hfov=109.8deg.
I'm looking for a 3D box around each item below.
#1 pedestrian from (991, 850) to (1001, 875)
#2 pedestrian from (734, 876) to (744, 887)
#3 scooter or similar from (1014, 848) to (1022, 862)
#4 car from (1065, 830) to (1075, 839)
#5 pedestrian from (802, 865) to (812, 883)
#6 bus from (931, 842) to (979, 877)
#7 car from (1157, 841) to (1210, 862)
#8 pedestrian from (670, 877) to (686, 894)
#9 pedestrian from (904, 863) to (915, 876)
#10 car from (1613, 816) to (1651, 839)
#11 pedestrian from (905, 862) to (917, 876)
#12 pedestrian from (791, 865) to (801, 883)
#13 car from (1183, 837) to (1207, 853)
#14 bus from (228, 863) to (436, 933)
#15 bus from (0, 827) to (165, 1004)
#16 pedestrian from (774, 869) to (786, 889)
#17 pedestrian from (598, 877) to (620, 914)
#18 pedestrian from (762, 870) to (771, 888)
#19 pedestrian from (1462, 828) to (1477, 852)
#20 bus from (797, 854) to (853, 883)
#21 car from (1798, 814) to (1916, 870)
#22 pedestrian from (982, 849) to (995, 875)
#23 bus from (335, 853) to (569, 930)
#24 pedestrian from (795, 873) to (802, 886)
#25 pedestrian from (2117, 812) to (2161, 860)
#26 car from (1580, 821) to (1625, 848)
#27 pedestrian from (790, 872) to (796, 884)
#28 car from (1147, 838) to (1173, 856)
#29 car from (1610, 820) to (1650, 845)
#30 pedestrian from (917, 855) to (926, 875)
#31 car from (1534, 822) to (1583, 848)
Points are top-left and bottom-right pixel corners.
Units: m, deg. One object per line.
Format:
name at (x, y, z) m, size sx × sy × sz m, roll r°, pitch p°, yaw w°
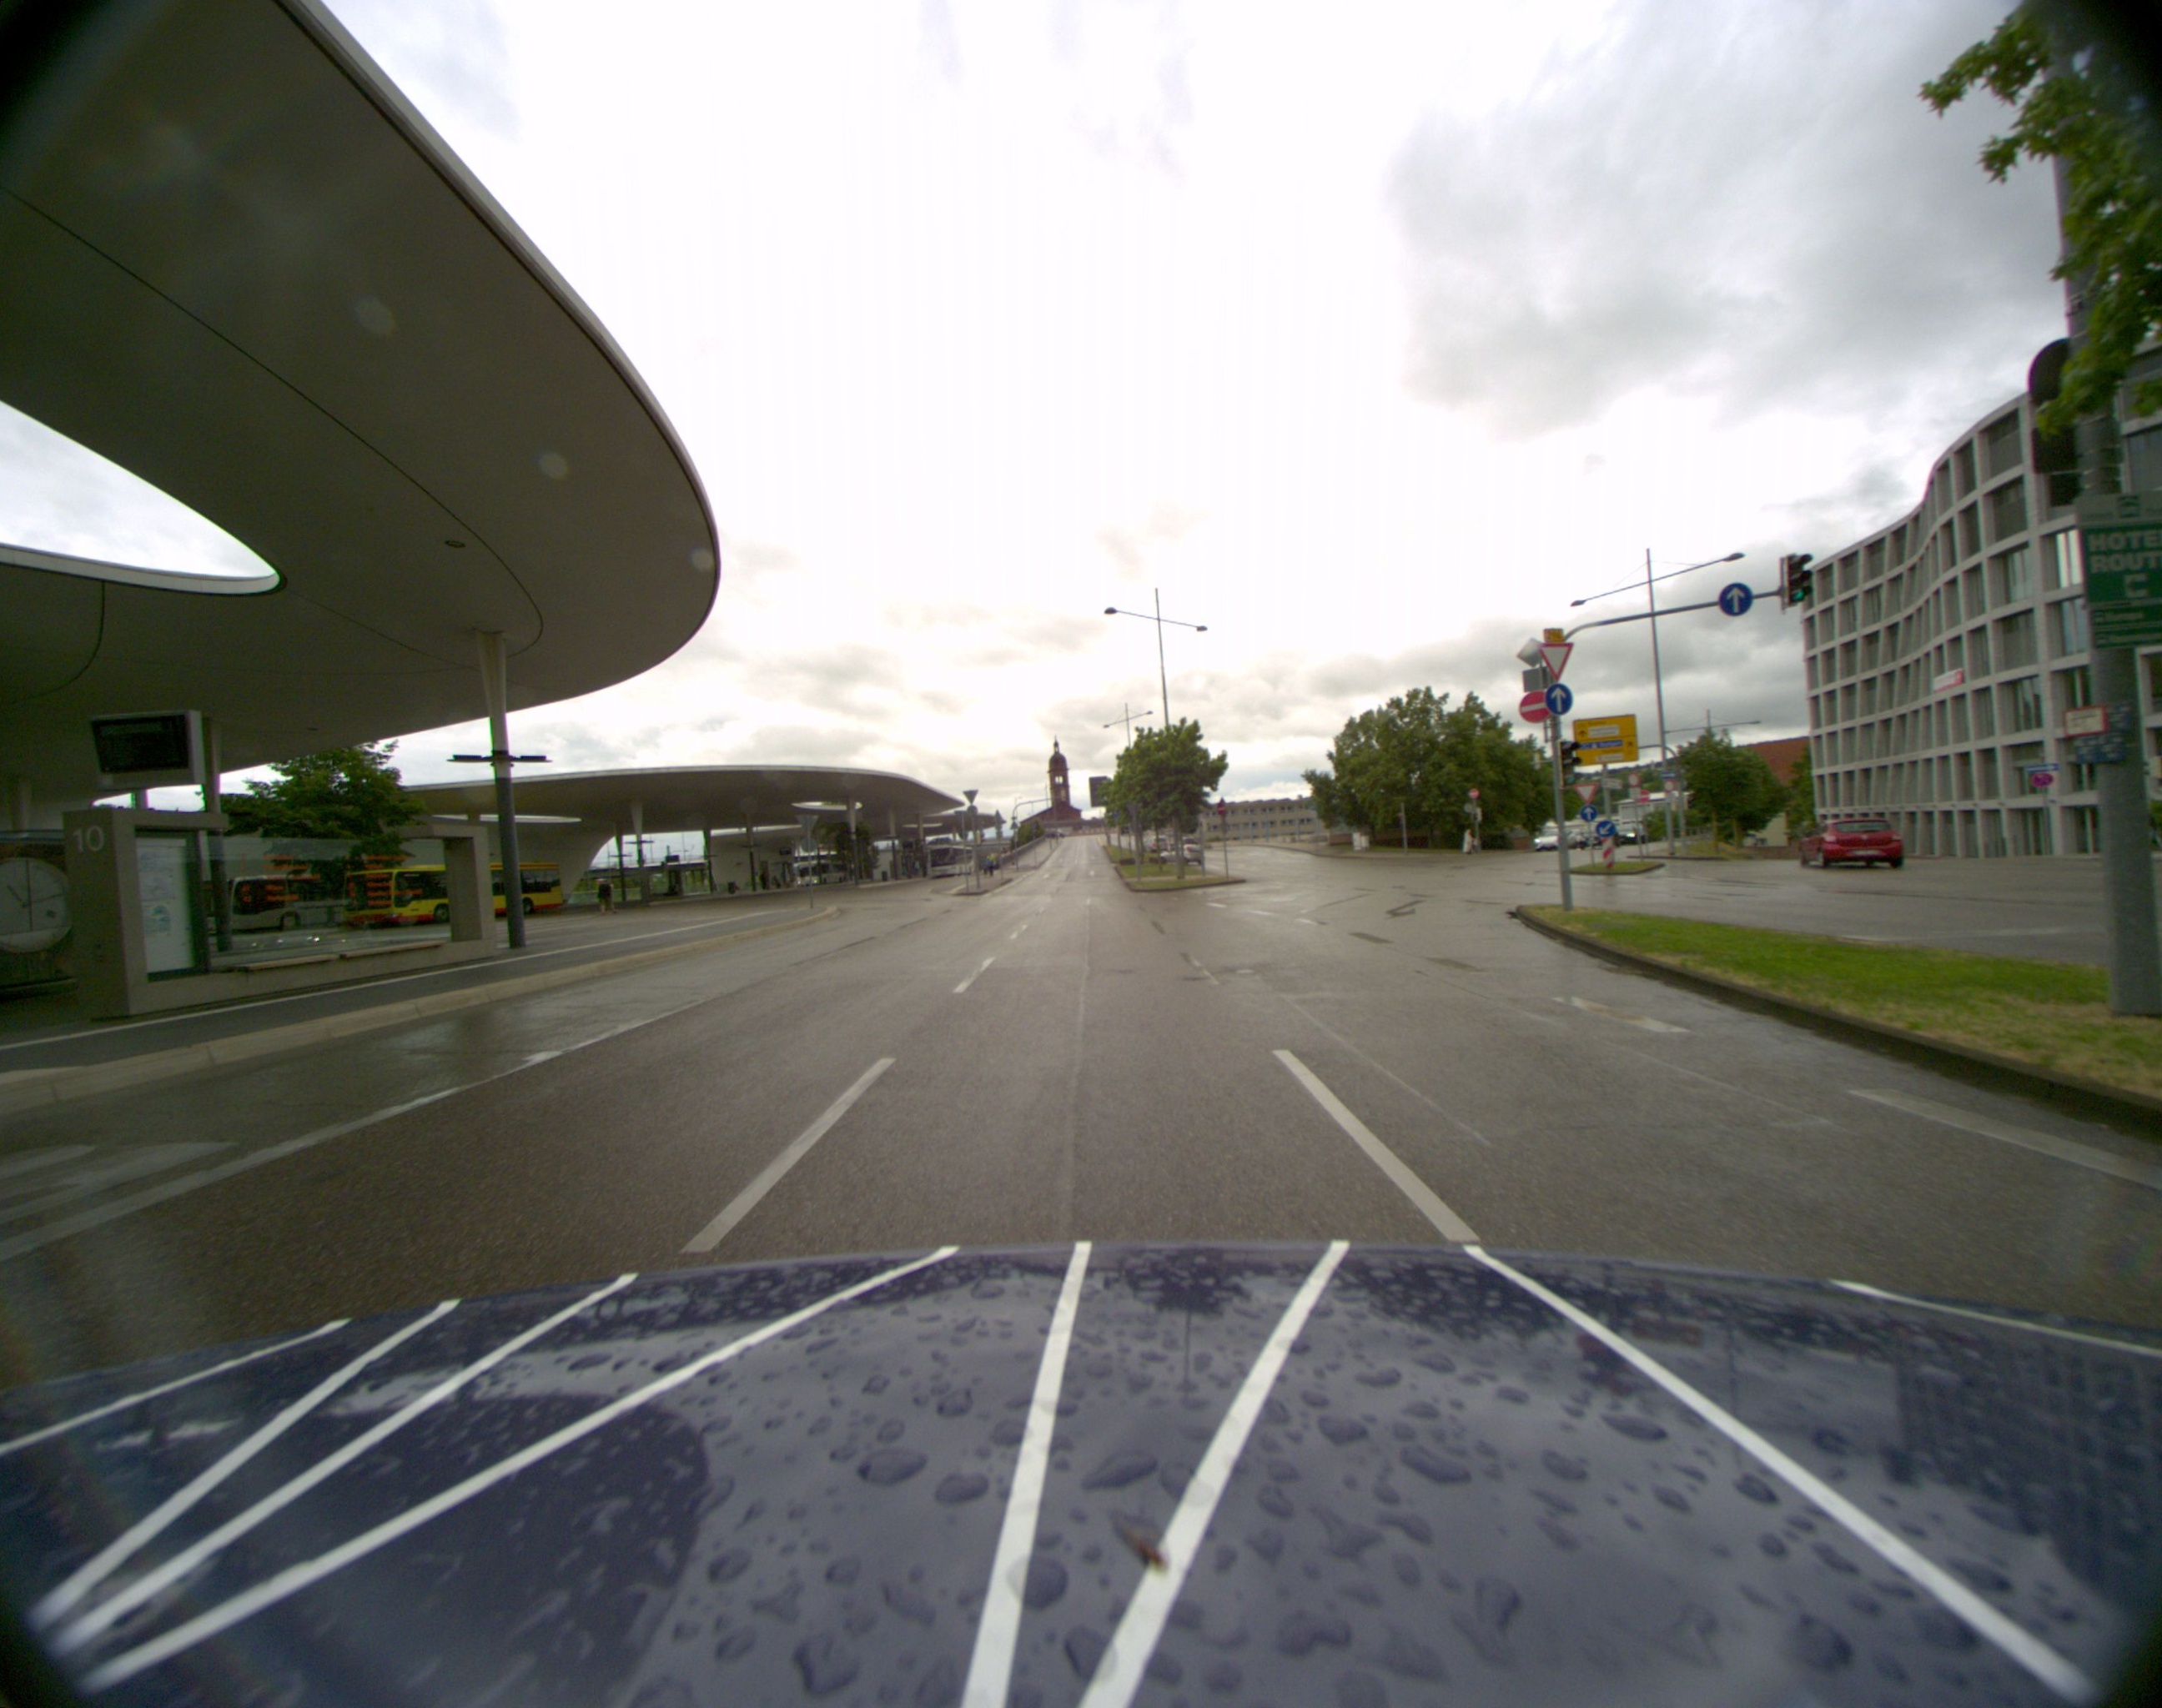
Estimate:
pedestrian at (-5.937, 0.563, 53.040) m, size 0.524 × 1.661 × 0.580 m, roll -5°, pitch 4°, yaw 1°
pedestrian at (-46.132, 3.676, 102.624) m, size 0.800 × 1.318 × 0.711 m, roll -7°, pitch 4°, yaw 6°
scooter or similar at (-5.536, 0.101, 67.176) m, size 0.465 × 1.214 × 1.859 m, roll -4°, pitch 1°, yaw 1°
car at (-2.297, -3.920, 151.525) m, size 1.852 × 1.643 × 4.418 m, roll -4°, pitch 1°, yaw -2°
pedestrian at (-25.758, 1.923, 71.519) m, size 0.644 × 1.645 × 0.638 m, roll -4°, pitch 1°, yaw -39°
bus at (-13.218, 0.546, 80.815) m, size 2.852 × 3.342 × 12.425 m, roll -1°, pitch 0°, yaw 1°
car at (7.348, -0.171, 54.908) m, size 1.639 × 1.440 × 3.866 m, roll -3°, pitch 2°, yaw -33°
pedestrian at (-35.831, 2.793, 67.523) m, size 0.710 × 1.318 × 0.801 m, roll -6°, pitch 4°, yaw 9°
pedestrian at (-16.269, 1.458, 72.086) m, size 0.954 × 1.247 × 0.648 m, roll -1°, pitch -1°, yaw -23°
car at (41.051, -1.989, 56.582) m, size 1.723 × 1.559 × 3.845 m, roll -2°, pitch 1°, yaw 44°
pedestrian at (-15.997, 1.436, 71.427) m, size 0.954 × 1.247 × 0.648 m, roll -1°, pitch -1°, yaw -23°
pedestrian at (-26.426, 1.853, 70.421) m, size 0.570 × 1.645 × 0.557 m, roll -3°, pitch 1°, yaw 7°
car at (11.720, -0.942, 78.633) m, size 1.851 × 1.495 × 4.919 m, roll -3°, pitch 1°, yaw 2°
bus at (-44.172, 2.411, 45.475) m, size 2.521 × 3.380 × 9.856 m, roll -3°, pitch 1°, yaw 0°
bus at (-20.037, 1.133, 9.291) m, size 2.728 × 3.026 × 12.089 m, roll -3°, pitch 0°, yaw 1°
pedestrian at (-26.380, 2.201, 66.513) m, size 0.590 × 1.581 × 0.677 m, roll -7°, pitch 4°, yaw -3°
pedestrian at (-22.479, 1.963, 36.220) m, size 0.720 × 1.674 × 1.019 m, roll -2°, pitch 1°, yaw -25°
pedestrian at (-26.664, 2.117, 64.430) m, size 0.522 × 1.493 × 0.381 m, roll -4°, pitch 2°, yaw -39°
pedestrian at (25.588, -0.942, 50.053) m, size 0.653 × 1.562 × 0.631 m, roll -2°, pitch 3°, yaw 5°
bus at (-33.092, 1.821, 99.023) m, size 2.795 × 3.238 × 12.139 m, roll -4°, pitch 1°, yaw 1°
car at (23.953, -0.396, 23.614) m, size 1.824 × 1.543 × 4.040 m, roll -2°, pitch 1°, yaw 35°
pedestrian at (-6.461, 0.552, 53.101) m, size 0.590 × 1.662 × 0.580 m, roll -6°, pitch 5°, yaw 1°
bus at (-34.053, 1.778, 42.291) m, size 2.795 × 3.239 × 12.137 m, roll -4°, pitch 1°, yaw -1°
pedestrian at (-25.663, 2.290, 69.018) m, size 0.395 × 1.138 × 0.364 m, roll -2°, pitch 1°, yaw 42°
pedestrian at (36.261, -0.625, 25.986) m, size 0.673 × 1.574 × 0.705 m, roll -4°, pitch 2°, yaw -1°
car at (33.233, -1.263, 48.406) m, size 1.723 × 1.559 × 3.845 m, roll -2°, pitch 1°, yaw 44°
pedestrian at (-26.063, 2.161, 68.813) m, size 0.391 × 1.075 × 0.352 m, roll -2°, pitch 1°, yaw 42°
car at (8.138, -0.711, 78.644) m, size 1.852 × 1.643 × 4.417 m, roll -4°, pitch 1°, yaw -4°
car at (37.843, -1.491, 52.347) m, size 1.723 × 1.559 × 3.845 m, roll -2°, pitch 1°, yaw 44°
pedestrian at (-15.134, 1.059, 71.994) m, size 0.585 × 1.875 × 0.649 m, roll -2°, pitch -1°, yaw 11°
car at (32.407, -1.326, 51.537) m, size 4.149 × 1.559 × 1.883 m, roll -4°, pitch 1°, yaw -45°
